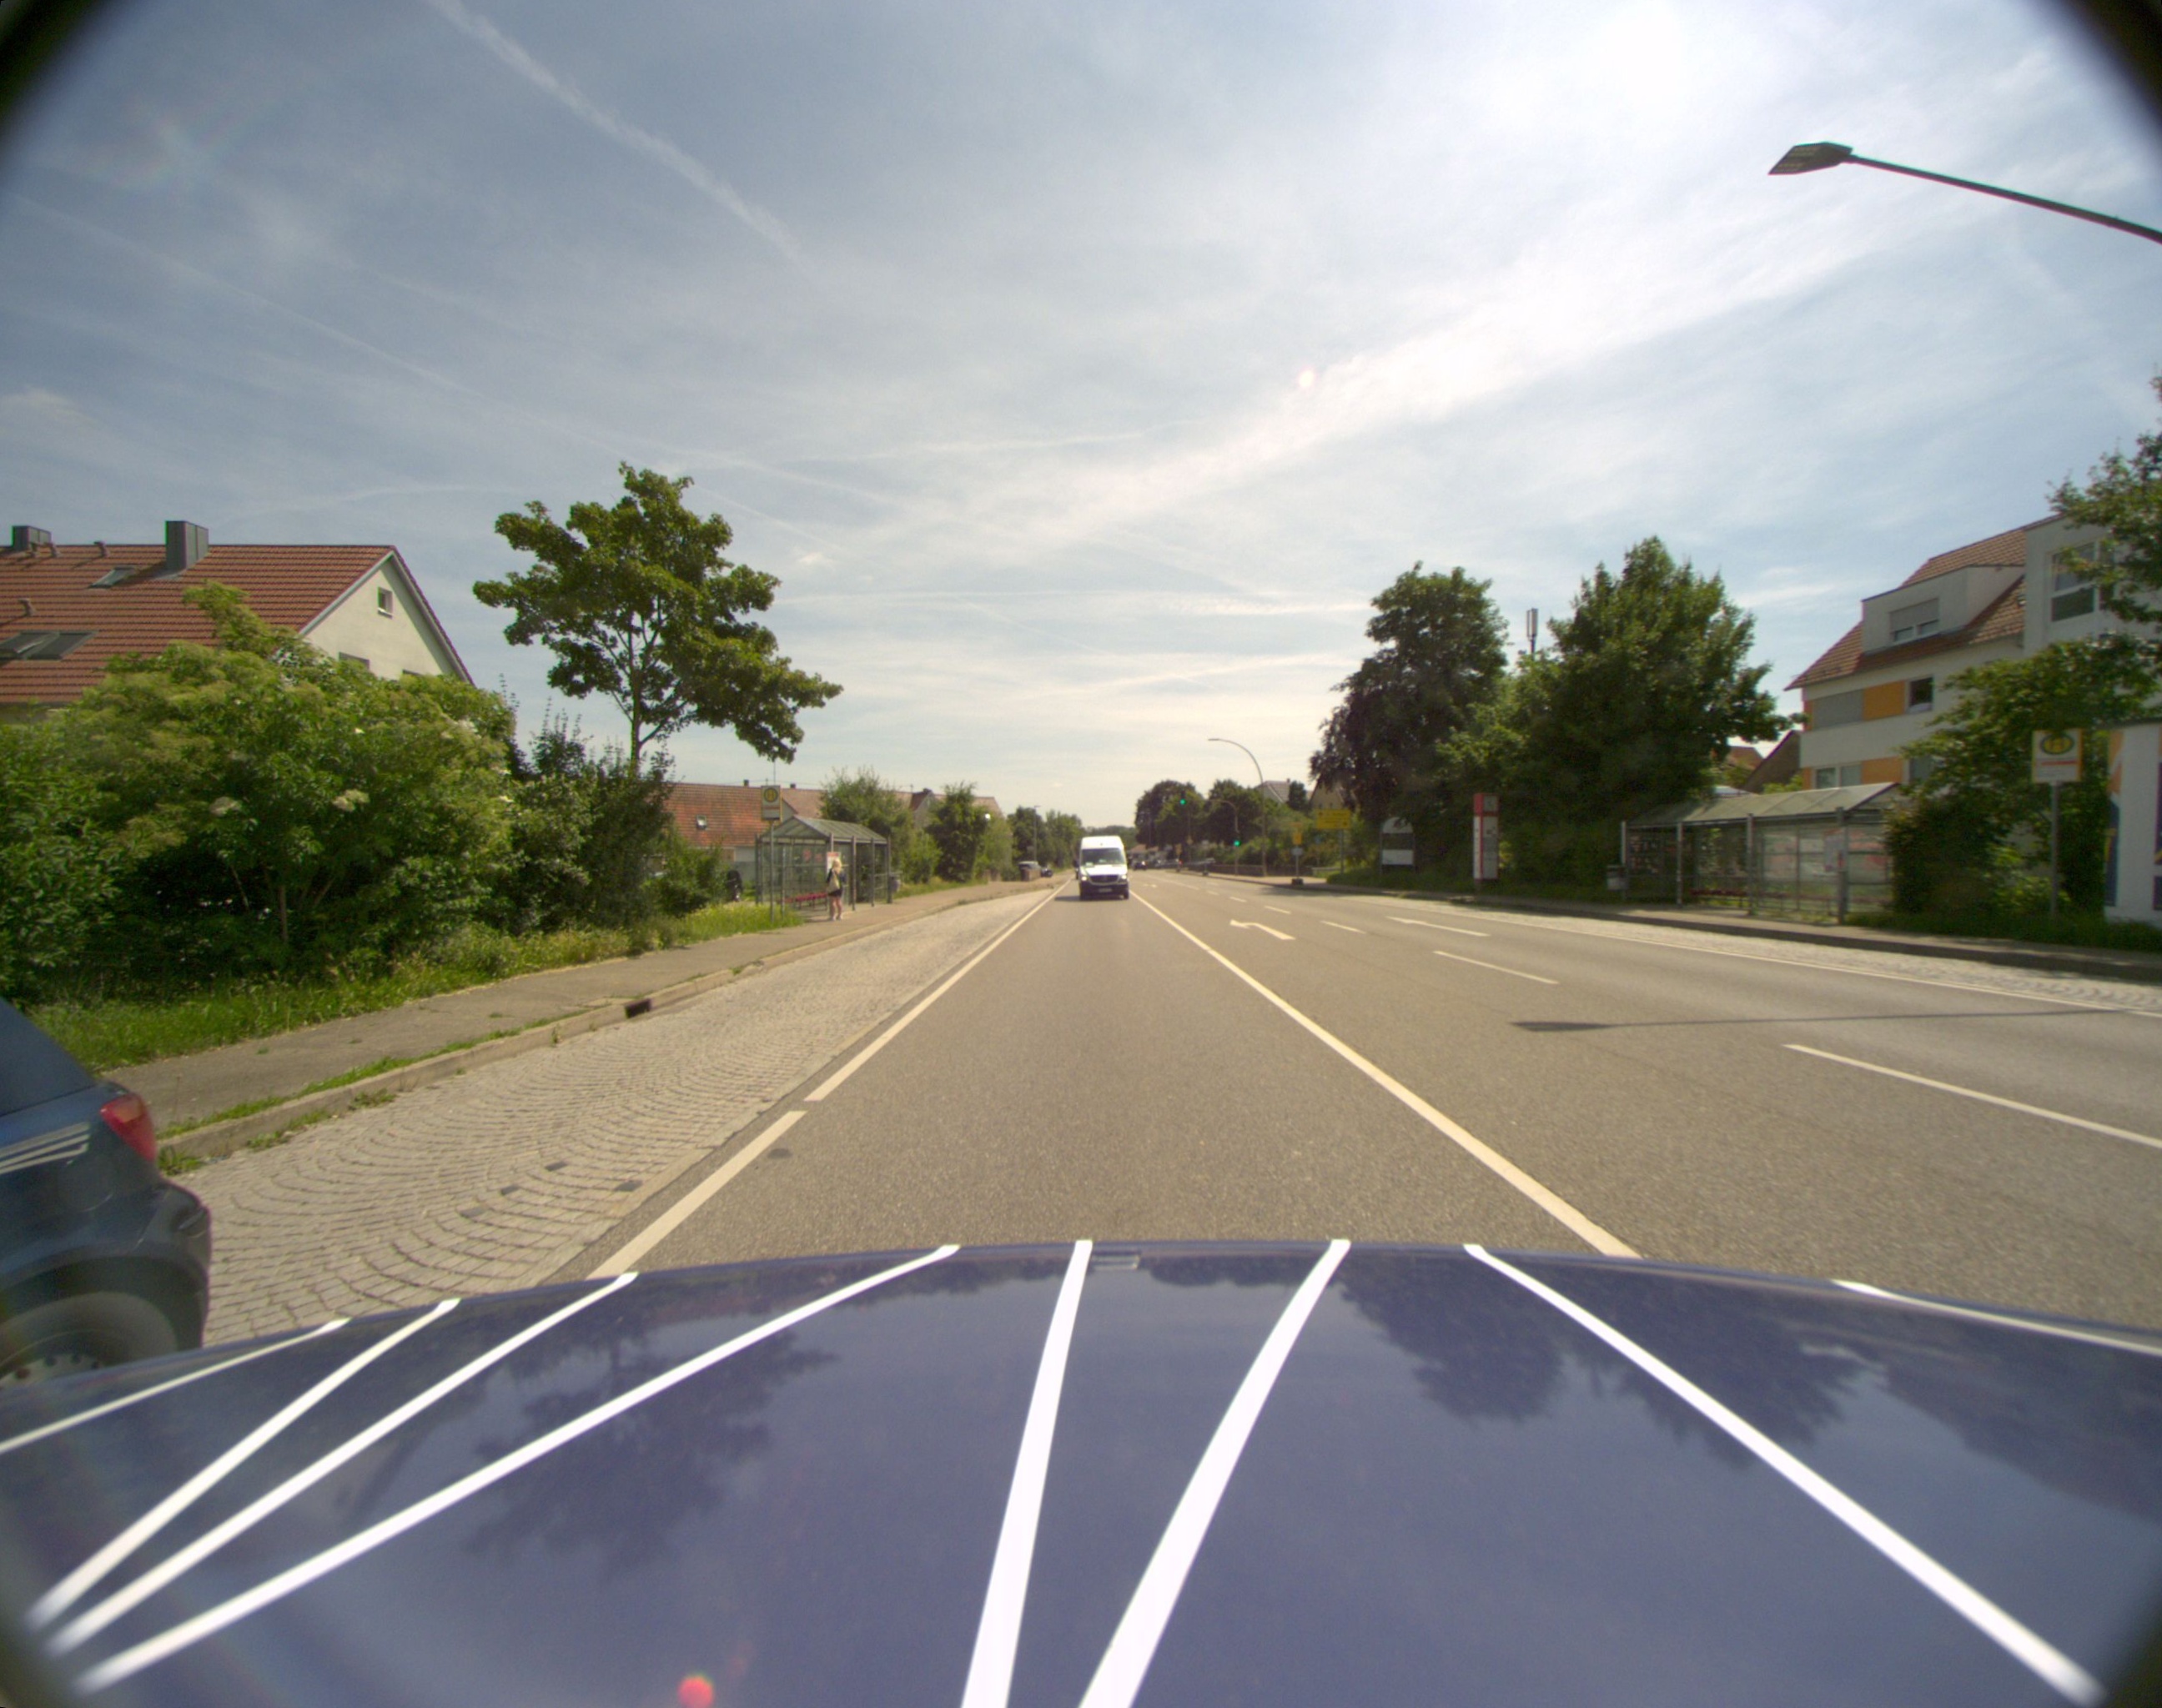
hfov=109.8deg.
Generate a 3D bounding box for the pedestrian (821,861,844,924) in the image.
[{"bbox_3d":[-6.269,0.965,19.182,0.522,1.540,0.562,-1,1,-17],"label":"pedestrian"}]

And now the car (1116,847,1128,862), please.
[{"bbox_3d":[9.969,0.032,184.053,2.535,3.431,5.916,-2,1,1],"label":"car"}]

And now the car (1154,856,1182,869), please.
[{"bbox_3d":[13.740,1.334,120.279,3.998,1.744,1.999,-2,1,-3],"label":"car"}]

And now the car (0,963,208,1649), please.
[{"bbox_3d":[-3.271,1.070,0.315,1.636,1.476,3.552,-3,0,0],"label":"car"}]

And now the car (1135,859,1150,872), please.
[{"bbox_3d":[9.303,1.681,114.823,1.998,1.729,3.999,-2,1,1],"label":"car"}]

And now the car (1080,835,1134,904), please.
[{"bbox_3d":[1.066,0.579,31.091,1.939,2.514,5.750,-1,0,2],"label":"car"}]

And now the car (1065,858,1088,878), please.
[{"bbox_3d":[-0.379,1.243,68.801,1.884,1.652,4.626,-2,0,2],"label":"car"}]

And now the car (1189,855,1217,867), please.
[{"bbox_3d":[19.364,1.108,120.570,3.998,1.760,1.999,-2,1,-2],"label":"car"}]
